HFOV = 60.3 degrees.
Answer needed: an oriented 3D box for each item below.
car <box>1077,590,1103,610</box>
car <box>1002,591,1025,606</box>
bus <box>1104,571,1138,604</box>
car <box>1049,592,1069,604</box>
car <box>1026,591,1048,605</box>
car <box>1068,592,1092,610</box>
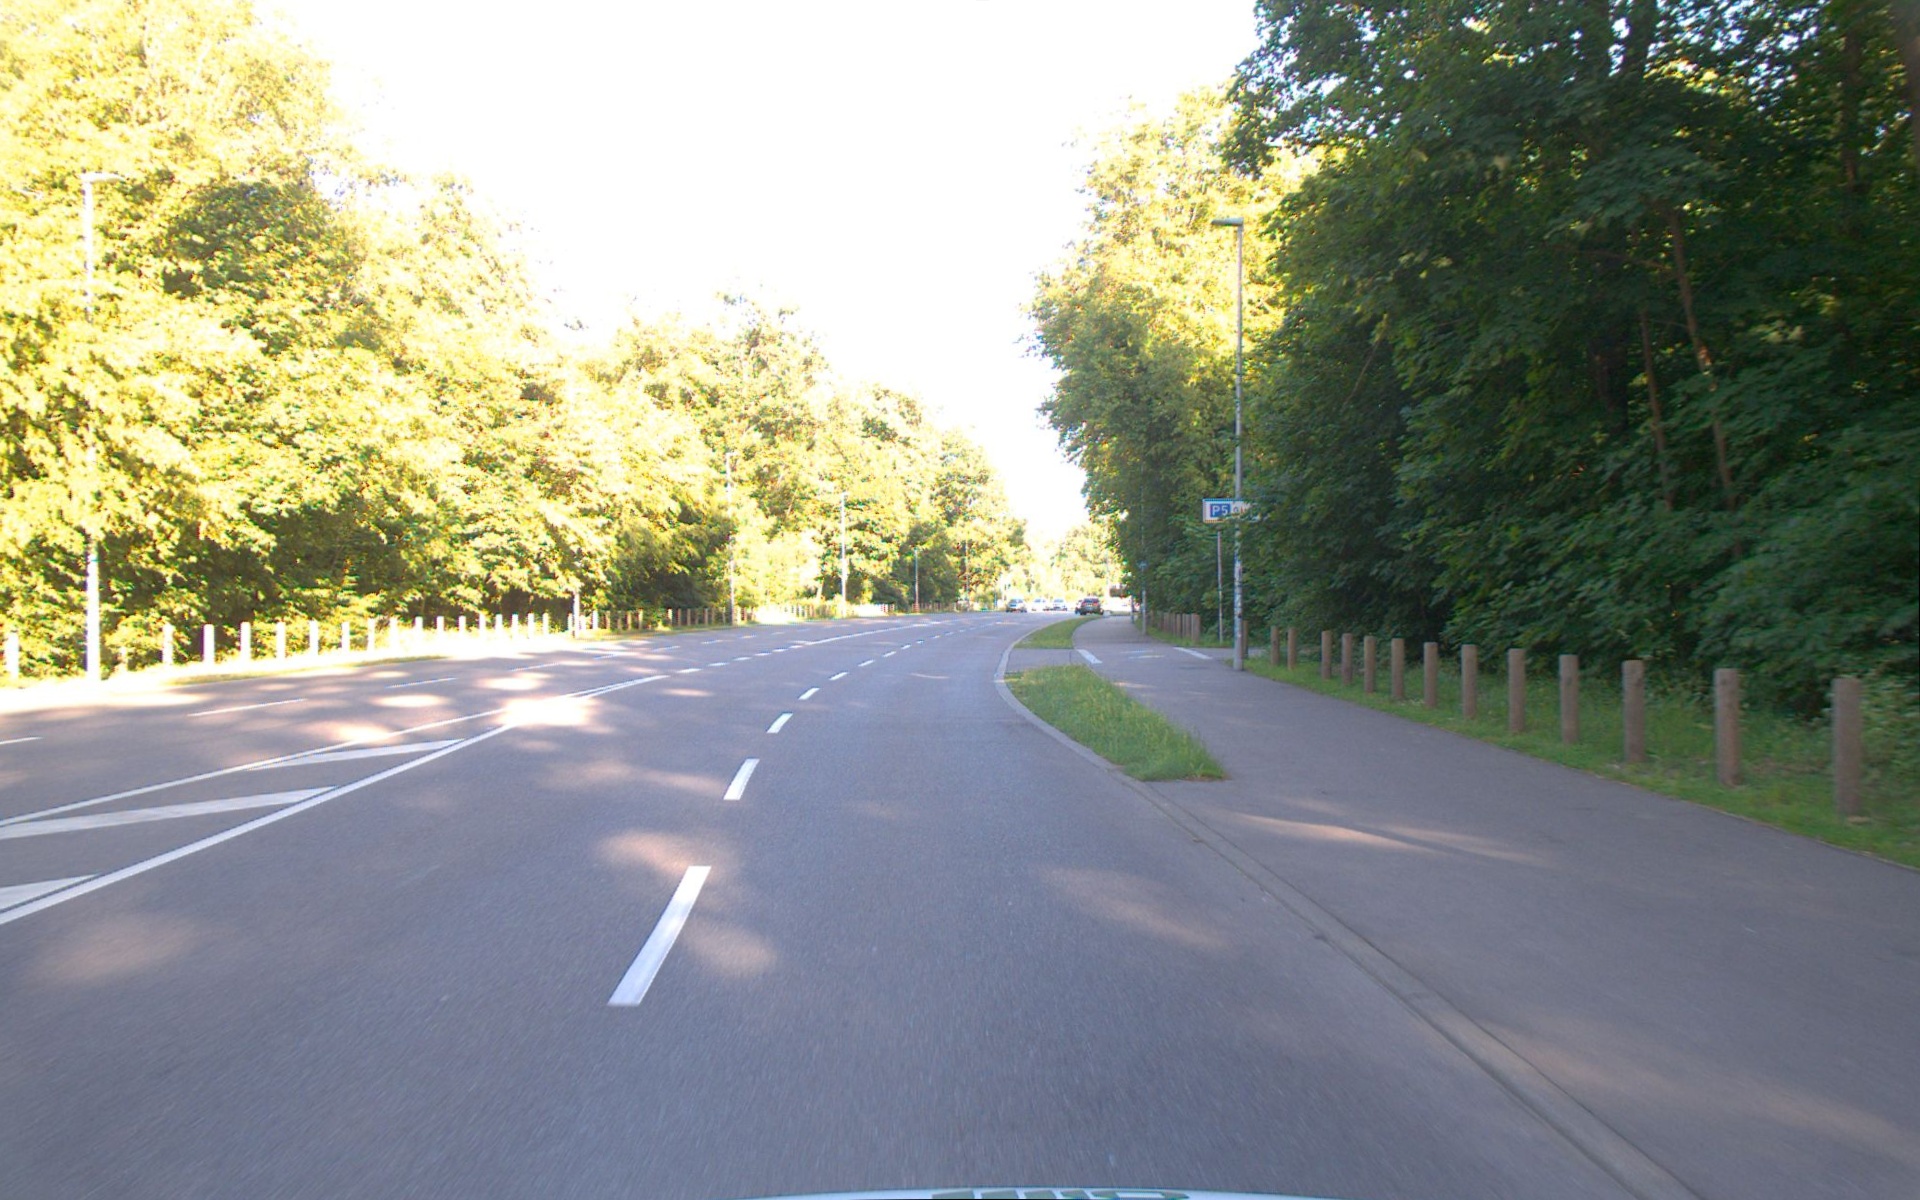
[{"bbox_3d":[12.141,0.027,153.829,1.840,1.796,4.004,-1,1,13],"label":"car"},{"bbox_3d":[5.507,-0.207,169.247,1.741,1.432,4.169,0,1,10],"label":"car"},{"bbox_3d":[16.864,-1.327,172.870,2.549,3.427,7.983,0,1,12],"label":"bus"},{"bbox_3d":[12.358,-0.266,206.498,1.745,1.549,4.401,0,1,14],"label":"car"},{"bbox_3d":[8.795,-0.244,188.704,1.741,1.489,4.278,-1,0,12],"label":"car"},{"bbox_3d":[12.241,0.108,167.957,1.840,1.739,4.004,-1,1,13],"label":"car"}]
